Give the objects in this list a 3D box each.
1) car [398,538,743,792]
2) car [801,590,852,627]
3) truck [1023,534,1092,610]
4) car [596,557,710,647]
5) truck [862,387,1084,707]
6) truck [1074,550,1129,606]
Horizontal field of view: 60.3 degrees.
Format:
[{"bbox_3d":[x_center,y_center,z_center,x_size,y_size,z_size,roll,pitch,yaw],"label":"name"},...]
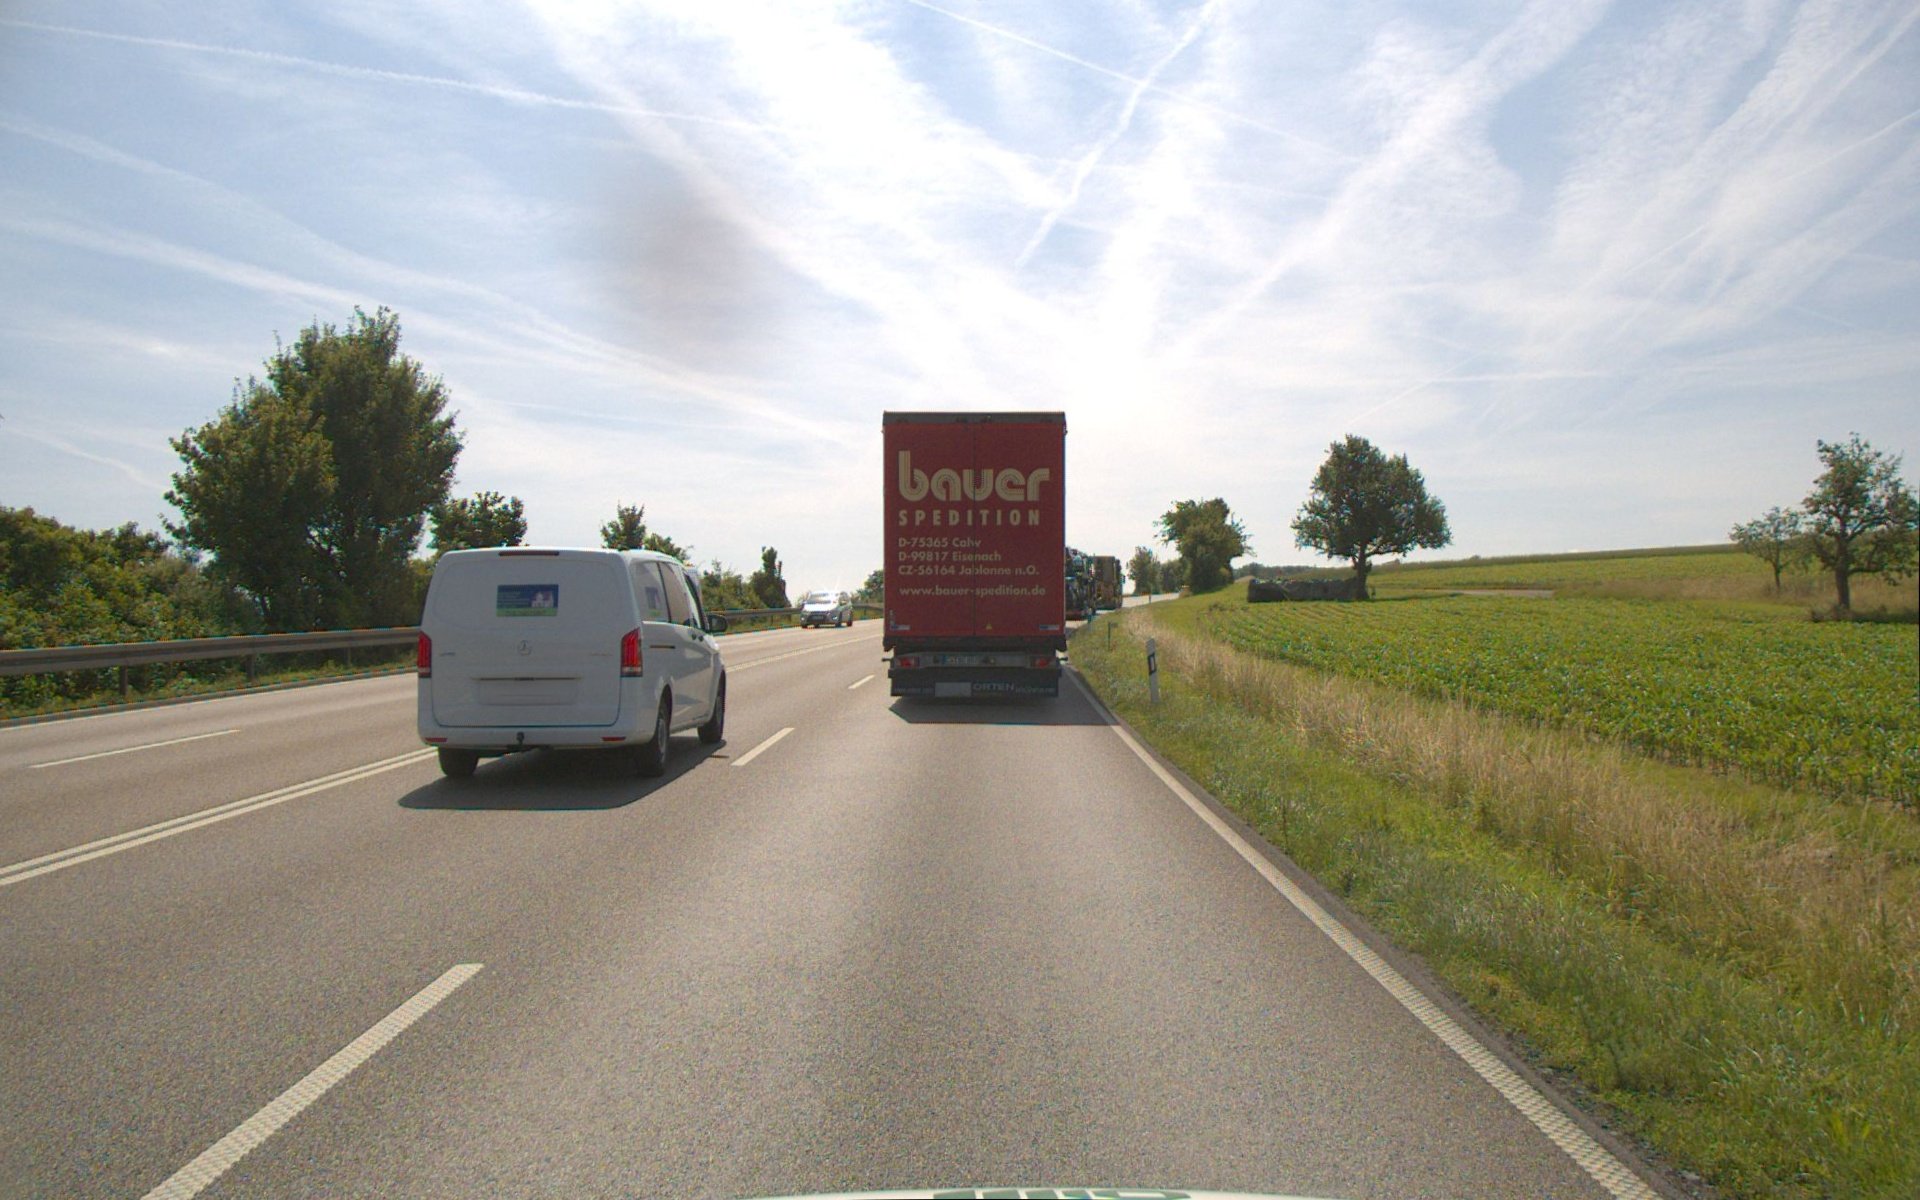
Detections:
[{"bbox_3d":[-3.295,0.486,15.204,1.866,1.917,5.432,0,0,0],"label":"car"},{"bbox_3d":[-6.097,0.362,76.014,1.775,1.596,4.685,0,0,2],"label":"car"},{"bbox_3d":[5.810,-1.572,96.115,2.982,3.978,15.627,-1,0,7],"label":"truck"},{"bbox_3d":[-8.823,0.043,48.076,2.045,2.436,5.845,0,0,2],"label":"car"},{"bbox_3d":[0.193,-0.761,30.417,2.945,4.253,16.714,0,0,0],"label":"truck"},{"bbox_3d":[11.204,-1.673,129.540,2.982,3.978,18.414,-1,0,9],"label":"truck"}]
